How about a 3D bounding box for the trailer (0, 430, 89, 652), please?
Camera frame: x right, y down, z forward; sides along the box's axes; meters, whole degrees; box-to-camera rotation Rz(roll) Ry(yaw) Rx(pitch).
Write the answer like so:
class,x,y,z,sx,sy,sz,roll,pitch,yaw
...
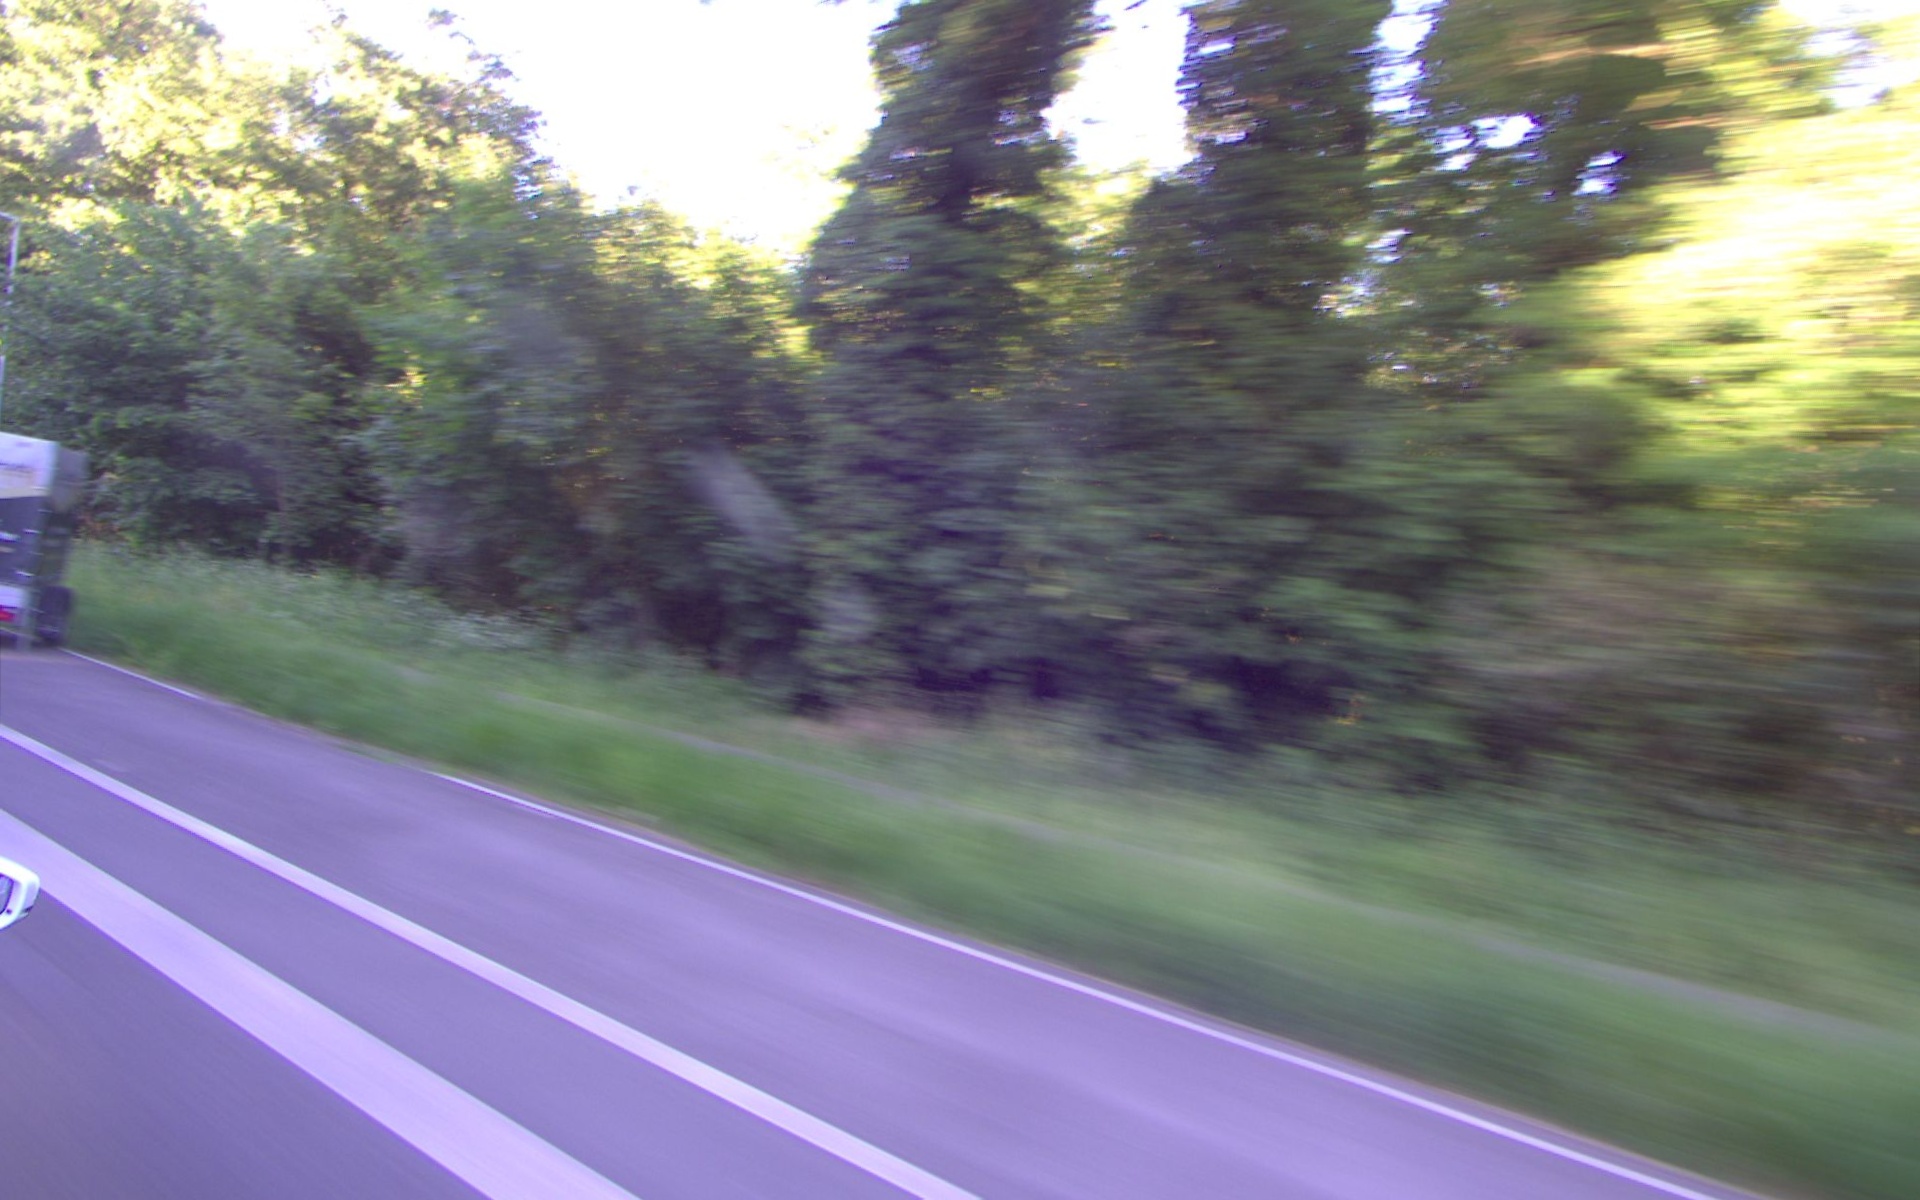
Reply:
class,x,y,z,sx,sy,sz,roll,pitch,yaw
trailer,-10.445,-0.705,10.570,1.607,2.137,2.371,8,-1,-38
